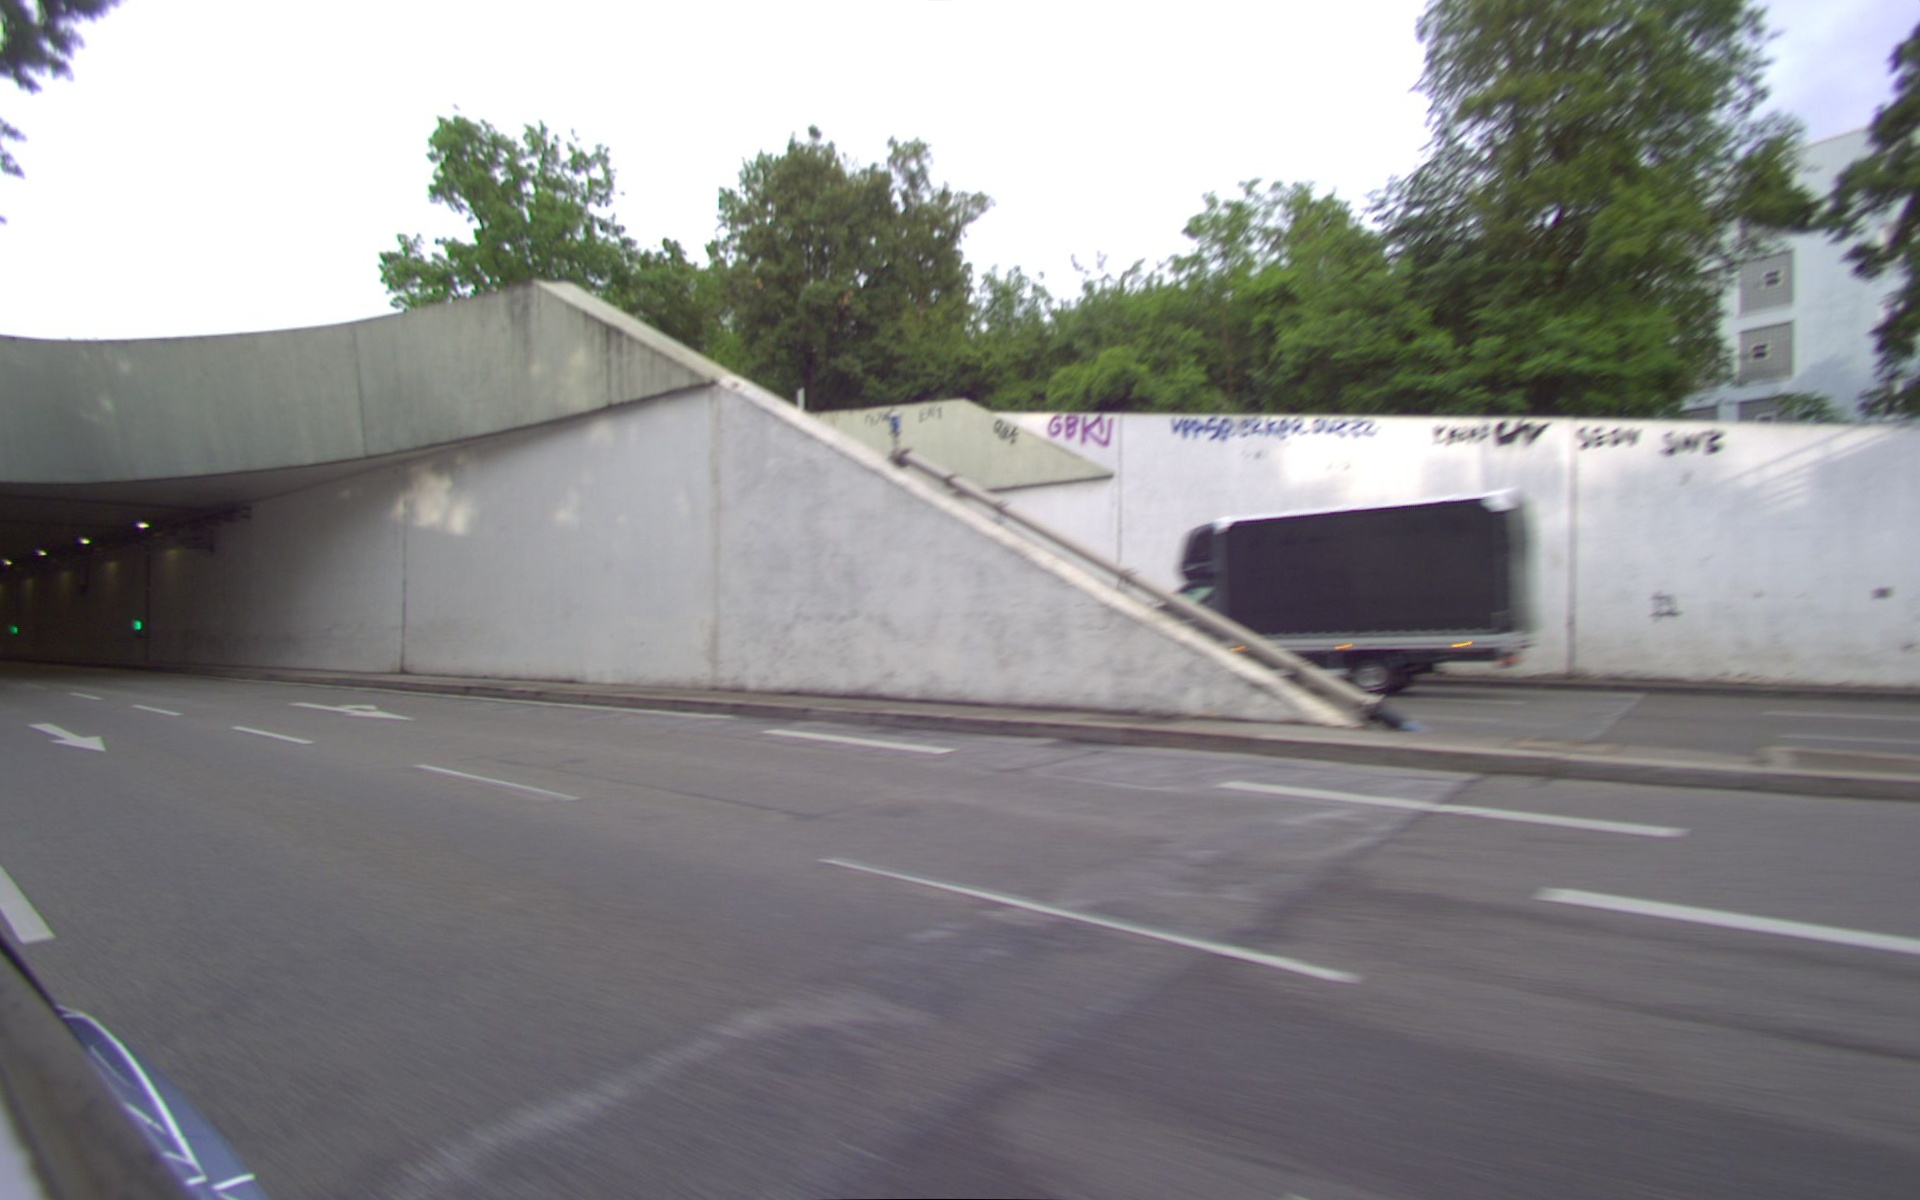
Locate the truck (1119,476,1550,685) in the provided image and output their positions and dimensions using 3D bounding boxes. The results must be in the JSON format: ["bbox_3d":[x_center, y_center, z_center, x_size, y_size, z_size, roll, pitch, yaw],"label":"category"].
[{"bbox_3d":[6.886,-0.202,19.181,7.132,3.301,2.772,-2,-1,36],"label":"truck"}]
